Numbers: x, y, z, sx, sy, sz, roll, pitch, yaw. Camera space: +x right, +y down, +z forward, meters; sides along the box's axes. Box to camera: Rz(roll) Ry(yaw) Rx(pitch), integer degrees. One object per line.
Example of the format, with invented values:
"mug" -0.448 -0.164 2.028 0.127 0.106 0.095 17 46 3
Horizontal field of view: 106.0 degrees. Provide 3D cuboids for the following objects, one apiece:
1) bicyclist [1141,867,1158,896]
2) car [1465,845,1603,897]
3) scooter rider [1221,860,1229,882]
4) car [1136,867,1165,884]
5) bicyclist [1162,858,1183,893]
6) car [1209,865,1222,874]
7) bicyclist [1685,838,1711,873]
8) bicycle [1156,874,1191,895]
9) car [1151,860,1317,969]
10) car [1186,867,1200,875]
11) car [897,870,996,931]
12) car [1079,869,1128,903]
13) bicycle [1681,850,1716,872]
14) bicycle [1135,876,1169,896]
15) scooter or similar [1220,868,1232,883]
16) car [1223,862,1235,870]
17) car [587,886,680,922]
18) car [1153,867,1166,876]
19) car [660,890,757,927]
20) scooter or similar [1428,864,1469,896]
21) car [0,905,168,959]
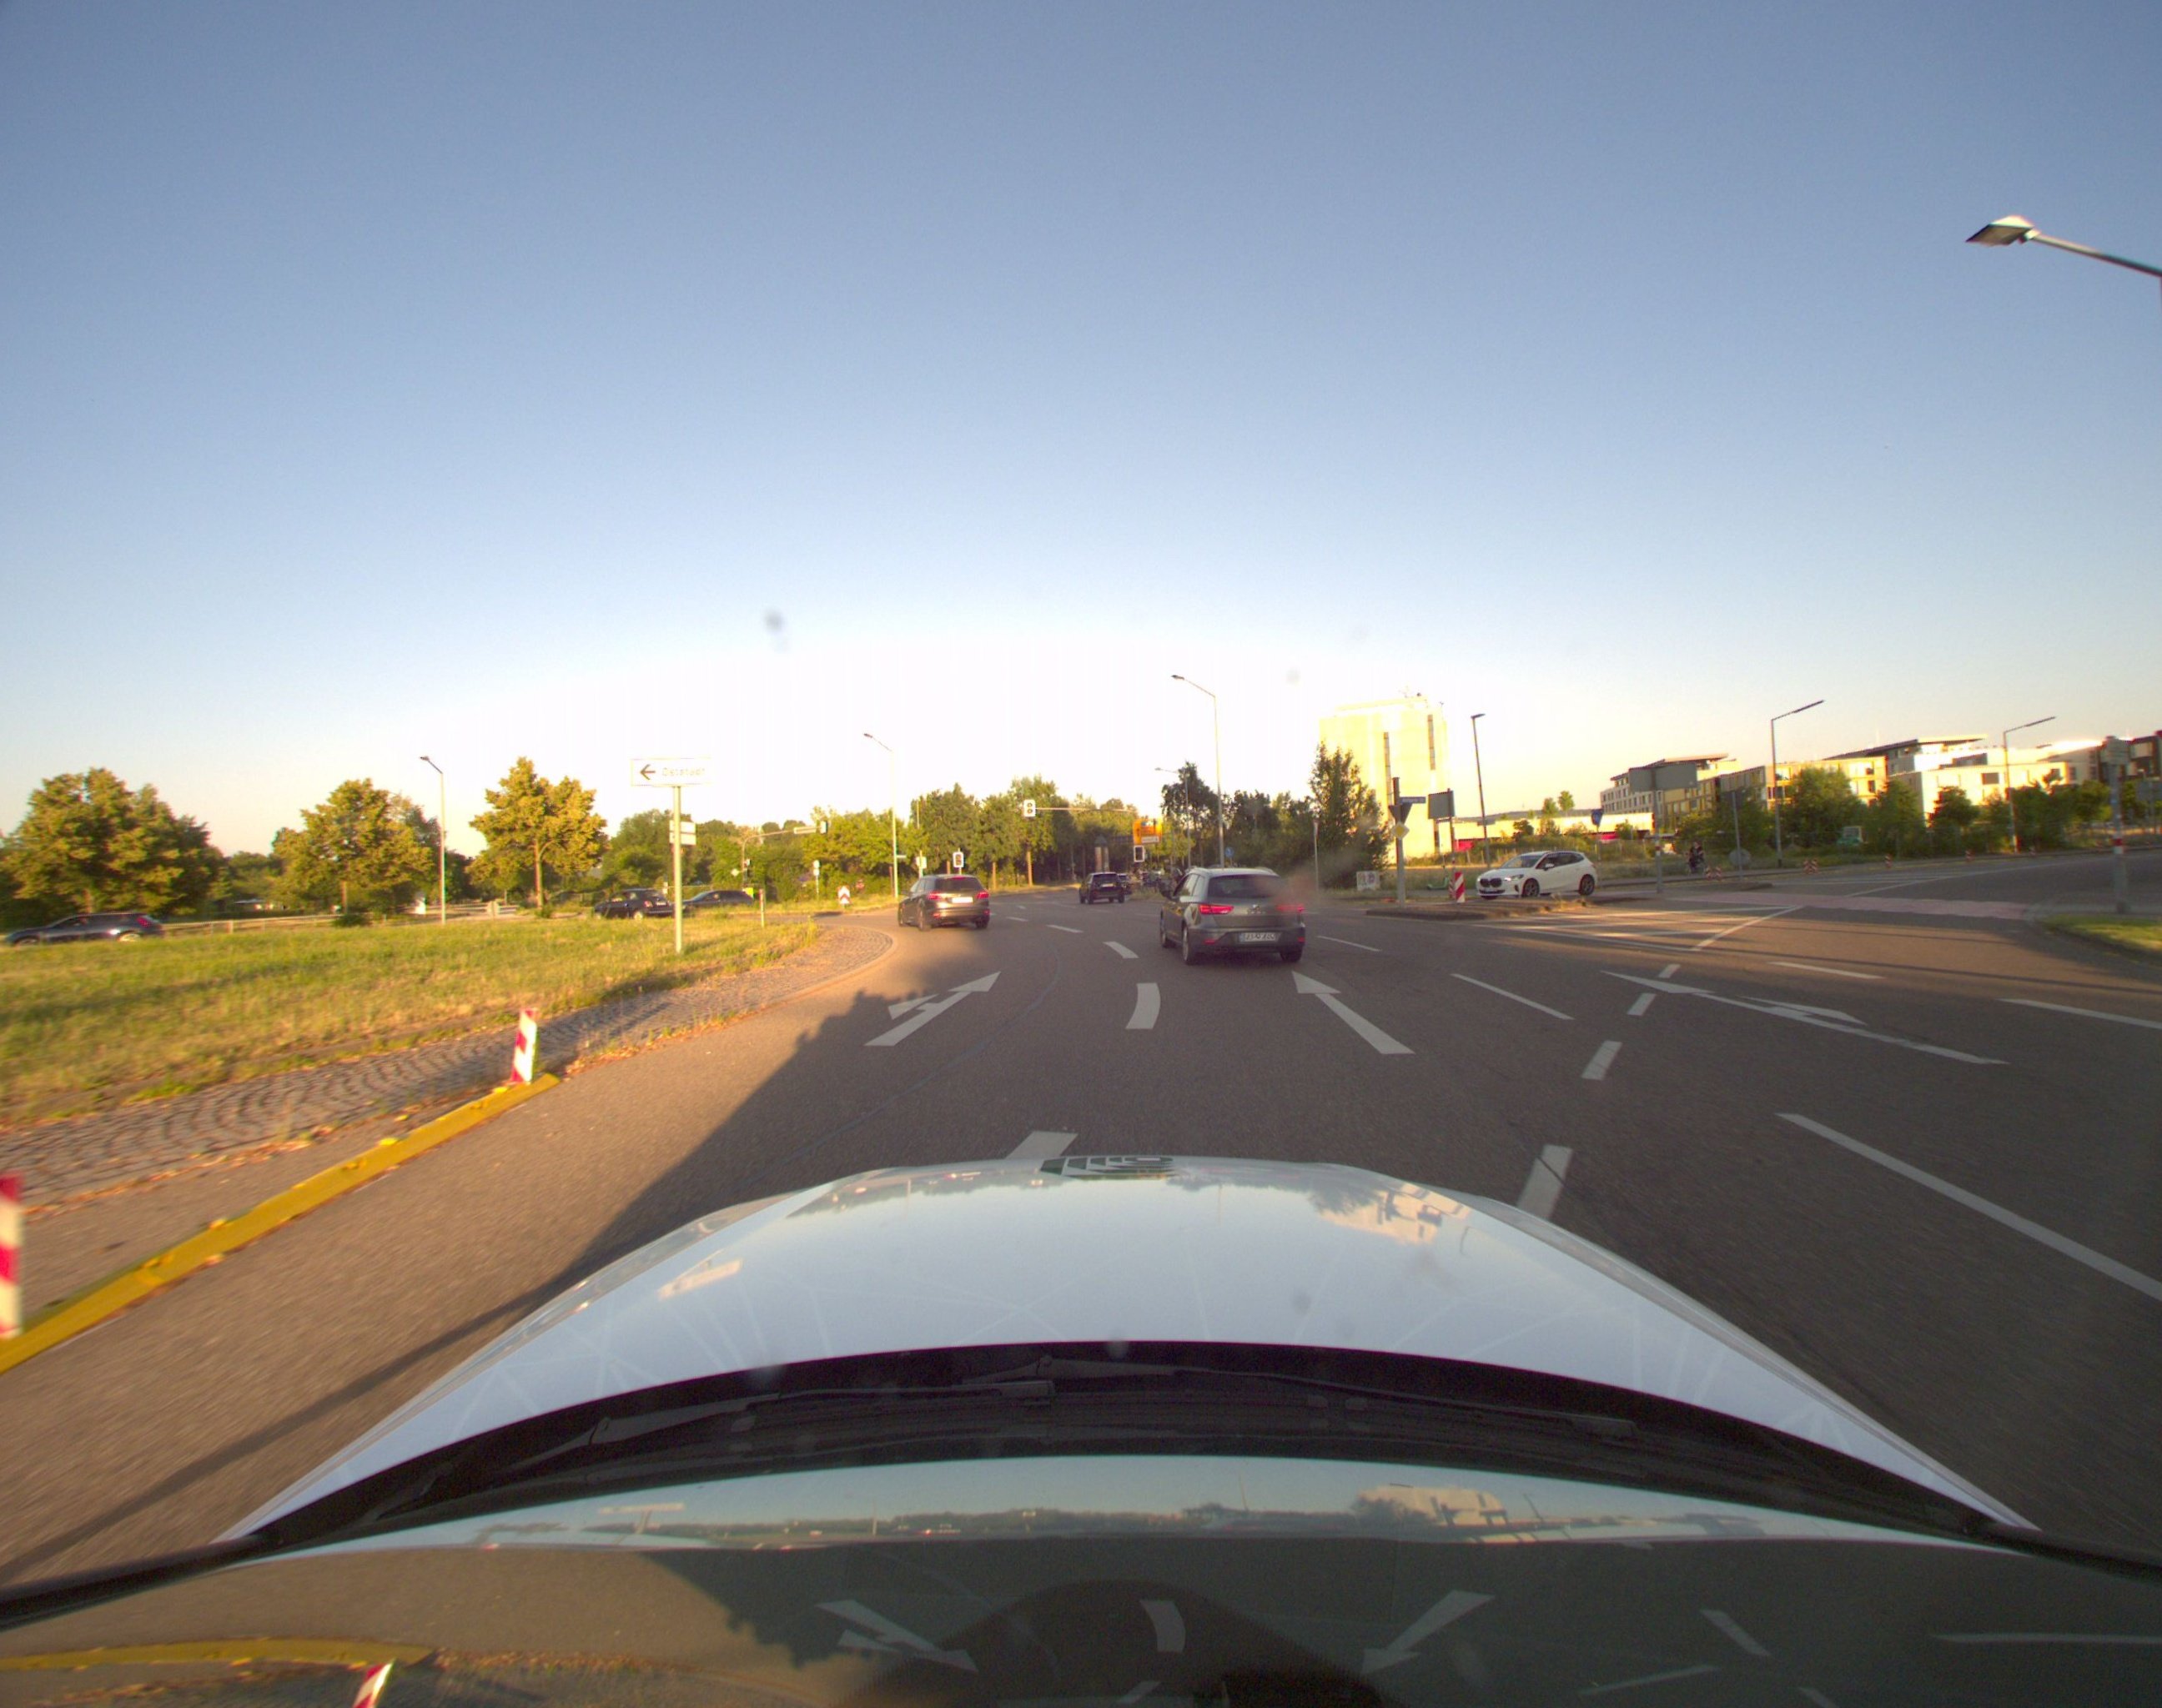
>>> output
"bicyclist" 4.161 1.646 49.542 0.761 1.702 0.644 -5 -2 17
"car" 15.389 0.578 27.664 4.098 1.558 1.877 -2 -2 -22
"scooter rider" 8.695 1.025 49.019 0.265 1.339 0.404 -2 -1 -18
"car" 6.923 2.103 80.654 1.977 1.471 4.019 -2 -1 18
"bicyclist" 5.260 1.238 46.791 0.900 1.898 0.644 -5 -2 17
"car" 28.779 3.304 174.463 1.782 1.633 4.478 -4 -2 20
"bicyclist" 31.103 0.079 41.045 0.539 1.744 0.835 -1 -2 -31
"bicycle" 5.312 1.770 46.789 1.907 1.085 0.459 -4 -2 17
"car" 2.282 0.858 13.252 1.741 1.424 4.130 -2 -1 -2
"car" 21.193 3.244 154.033 1.708 1.449 4.571 -2 -1 18
"car" -3.811 1.219 22.487 1.753 1.466 4.103 -2 -1 -23
"car" 1.066 1.572 41.076 1.811 1.525 4.123 -2 -1 -8
"bicycle" 31.151 0.359 41.085 0.281 1.089 1.359 -1 -2 -31
"bicycle" 4.285 1.938 49.451 1.907 1.085 0.459 -5 -2 17
"scooter or similar" 8.733 1.283 49.037 0.247 0.914 1.032 -2 -1 -18
"car" 34.952 2.846 191.971 1.901 1.755 4.944 -4 -2 18
"car" -19.969 2.212 36.284 4.081 1.446 1.762 -3 -1 30
"car" 14.055 3.106 145.415 1.536 1.443 3.503 -4 -2 18
"car" -20.833 2.996 45.675 4.624 1.748 1.730 -1 -1 -45
"scooter or similar" 14.129 1.005 31.308 0.444 1.163 1.368 -1 -1 -35
"car" -39.258 2.998 31.760 4.622 1.748 1.730 -2 -1 -41
